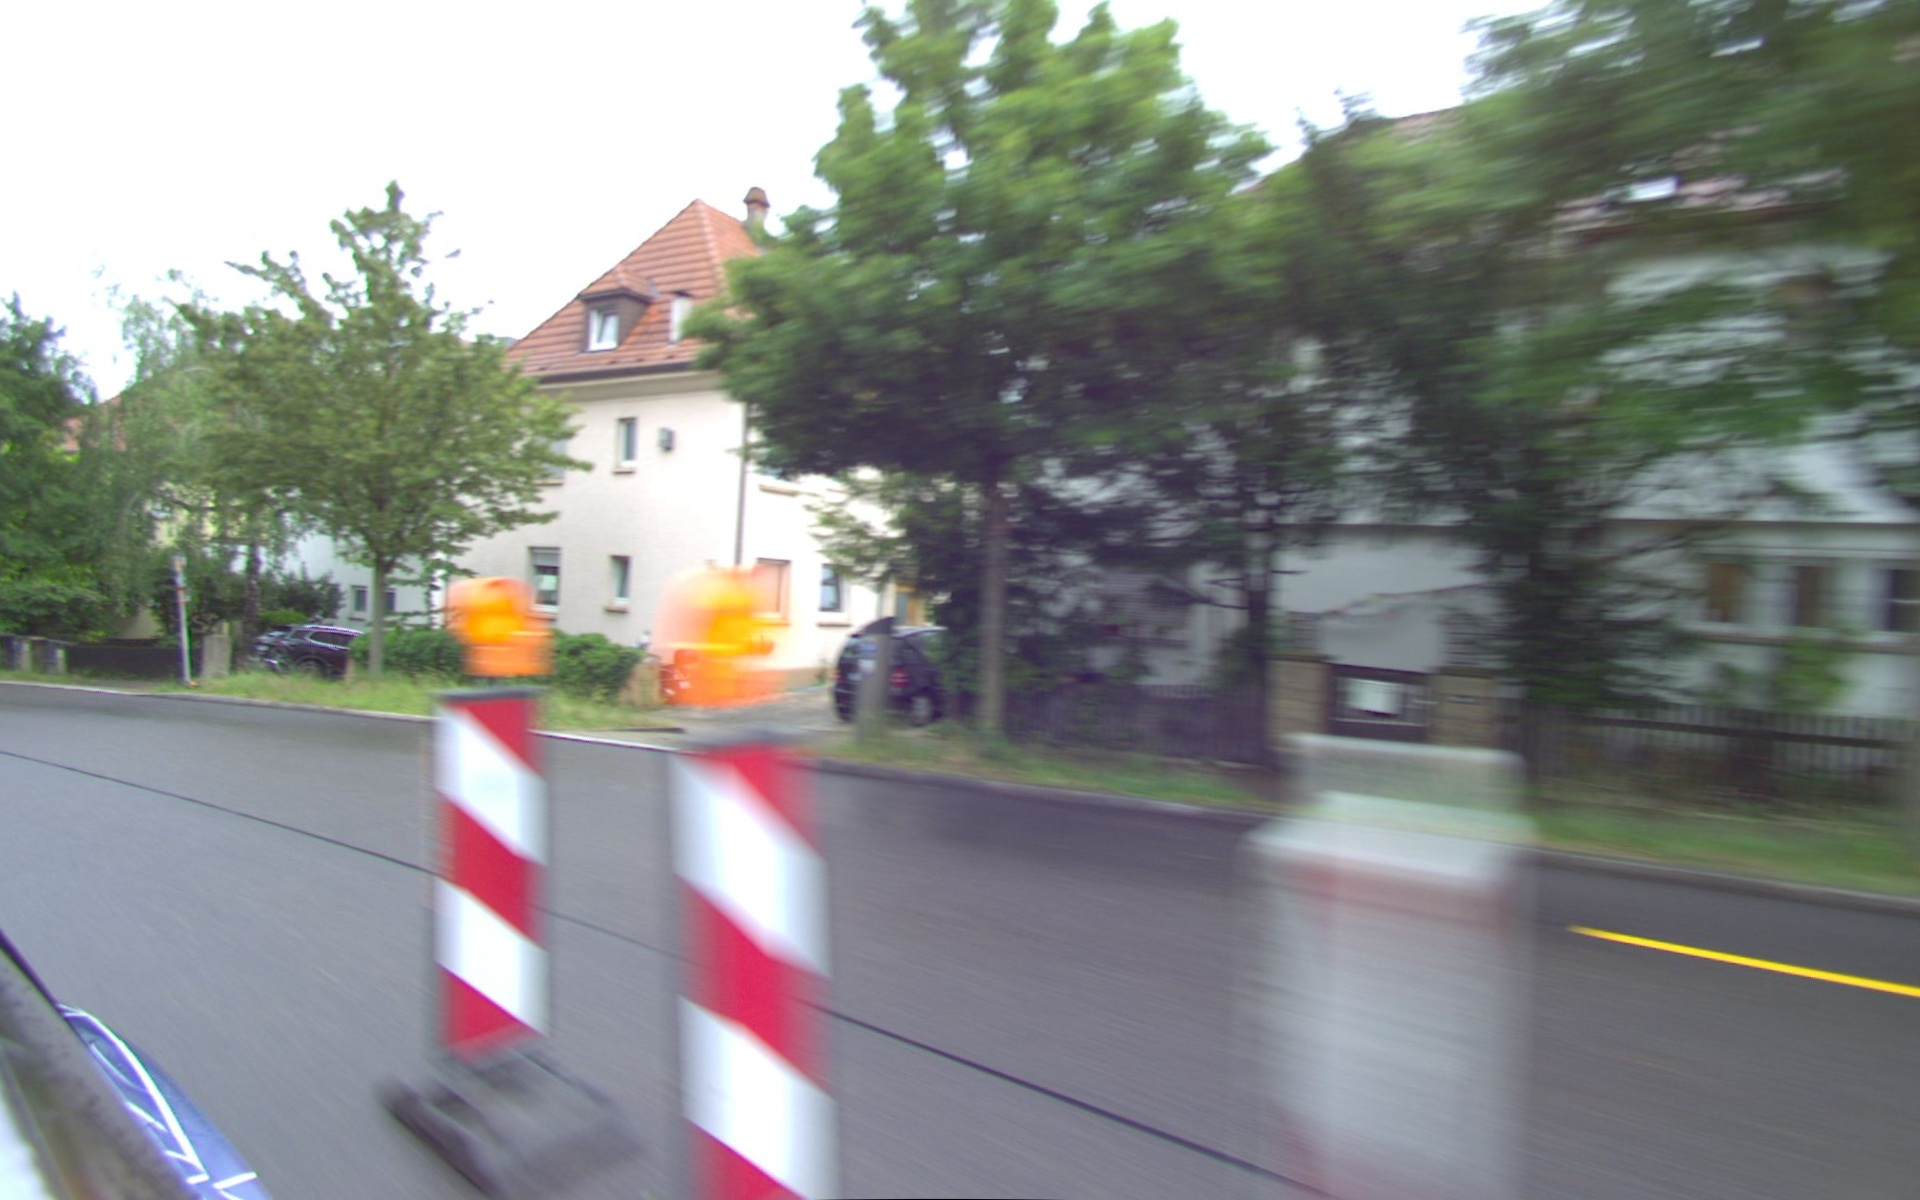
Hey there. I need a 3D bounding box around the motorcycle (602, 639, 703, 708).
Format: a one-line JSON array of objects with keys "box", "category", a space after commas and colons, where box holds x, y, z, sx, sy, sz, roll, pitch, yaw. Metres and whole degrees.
[{"box": [-6.035, 1.422, 19.844, 1.960, 1.258, 0.727, -1, 0, 29], "category": "motorcycle"}]

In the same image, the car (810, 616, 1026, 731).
[{"box": [-0.616, 1.168, 17.785, 1.858, 1.554, 3.909, 0, 2, 33], "category": "car"}]

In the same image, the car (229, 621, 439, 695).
[{"box": [-16.419, 1.573, 26.761, 1.908, 1.516, 4.204, 0, -8, 33], "category": "car"}]
